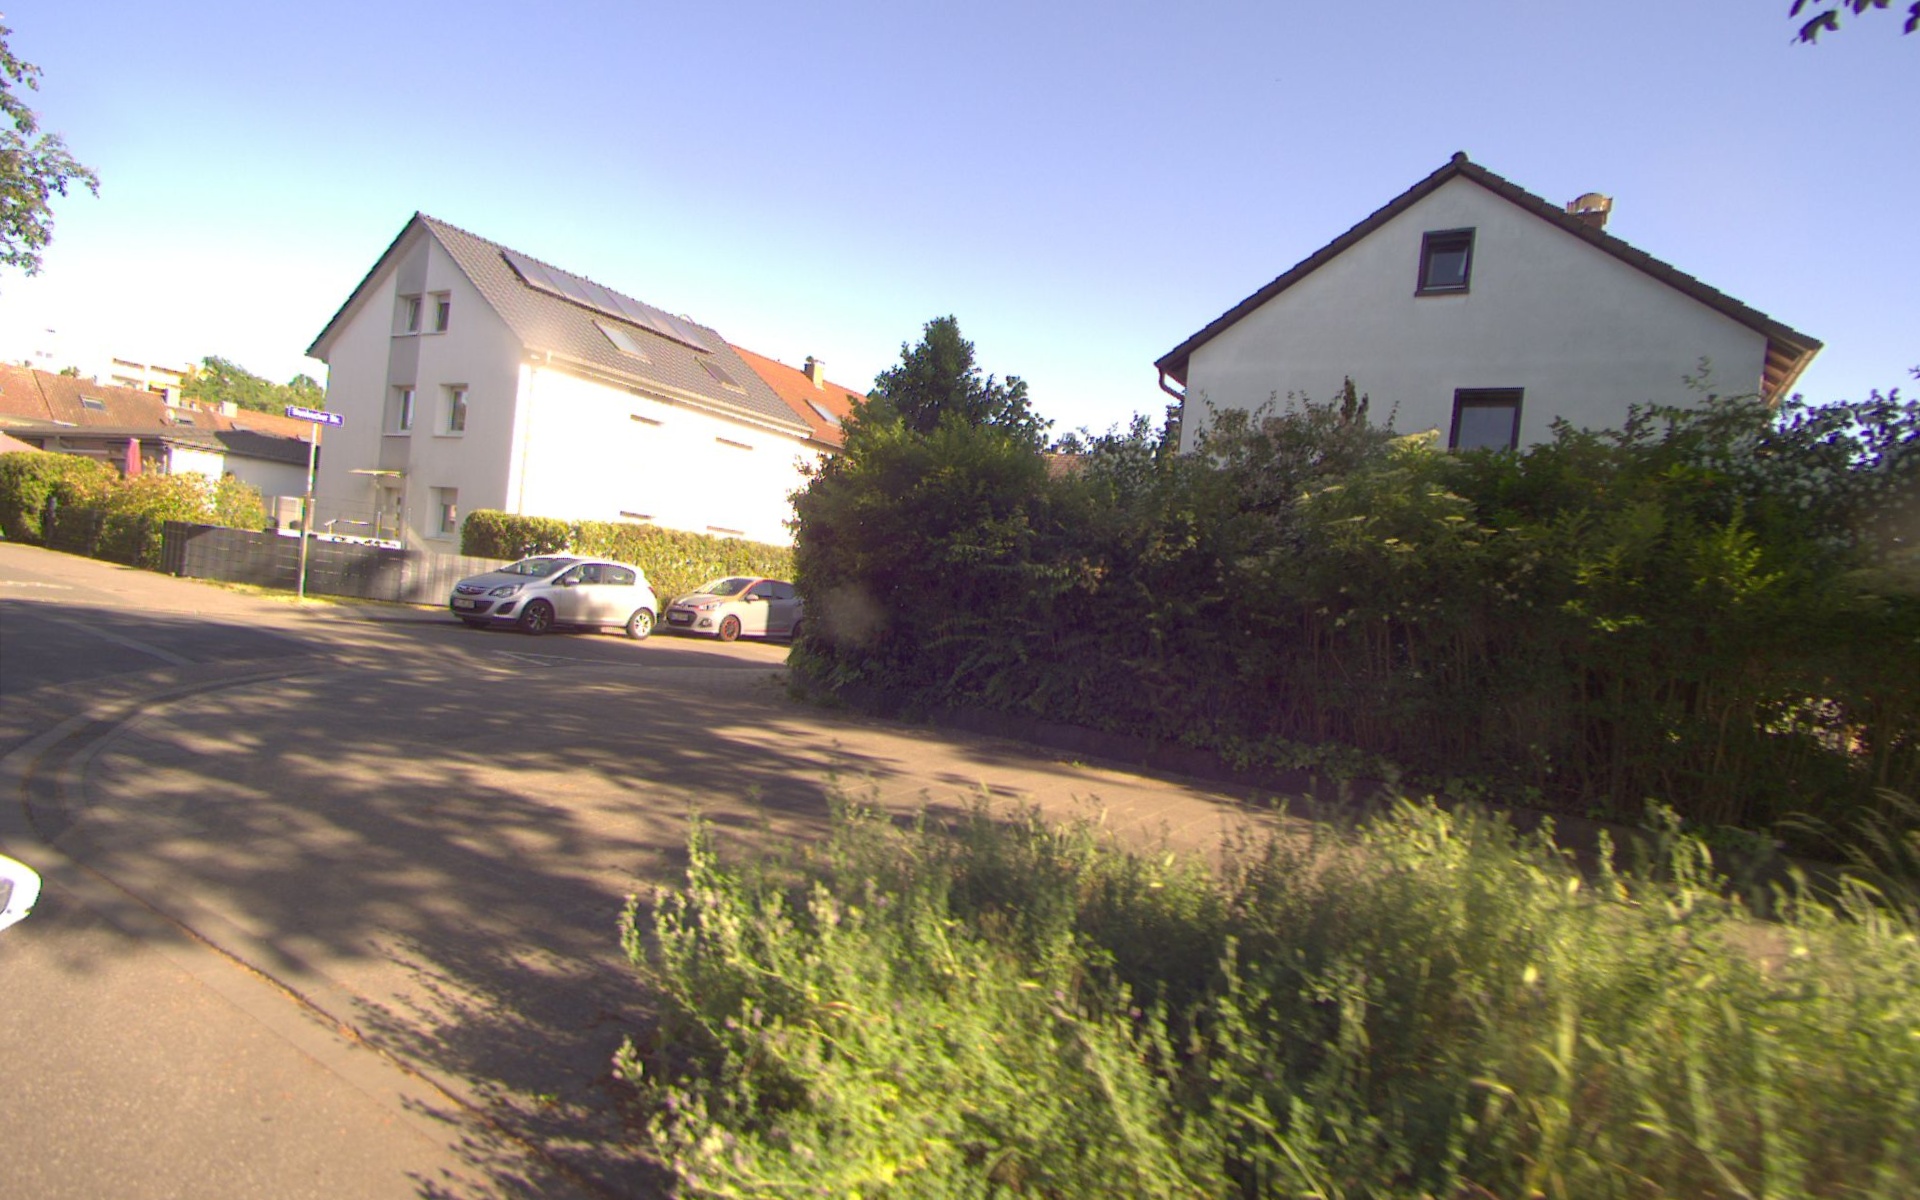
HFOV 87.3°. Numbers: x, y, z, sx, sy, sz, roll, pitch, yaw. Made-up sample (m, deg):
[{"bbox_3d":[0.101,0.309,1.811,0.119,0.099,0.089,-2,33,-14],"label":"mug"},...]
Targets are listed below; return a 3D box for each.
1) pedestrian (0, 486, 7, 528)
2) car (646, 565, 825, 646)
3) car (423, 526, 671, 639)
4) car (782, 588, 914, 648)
[{"bbox_3d":[-33.269,-3.226,34.653,0.629,1.401,0.439,6,-1,37],"label":"pedestrian"},{"bbox_3d":[-5.014,0.169,22.920,1.818,1.462,3.753,7,0,30],"label":"car"},{"bbox_3d":[-7.464,-0.242,18.620,1.745,1.660,3.996,7,0,25],"label":"car"},{"bbox_3d":[-2.894,0.471,26.764,1.398,1.341,3.822,8,3,30],"label":"car"}]
